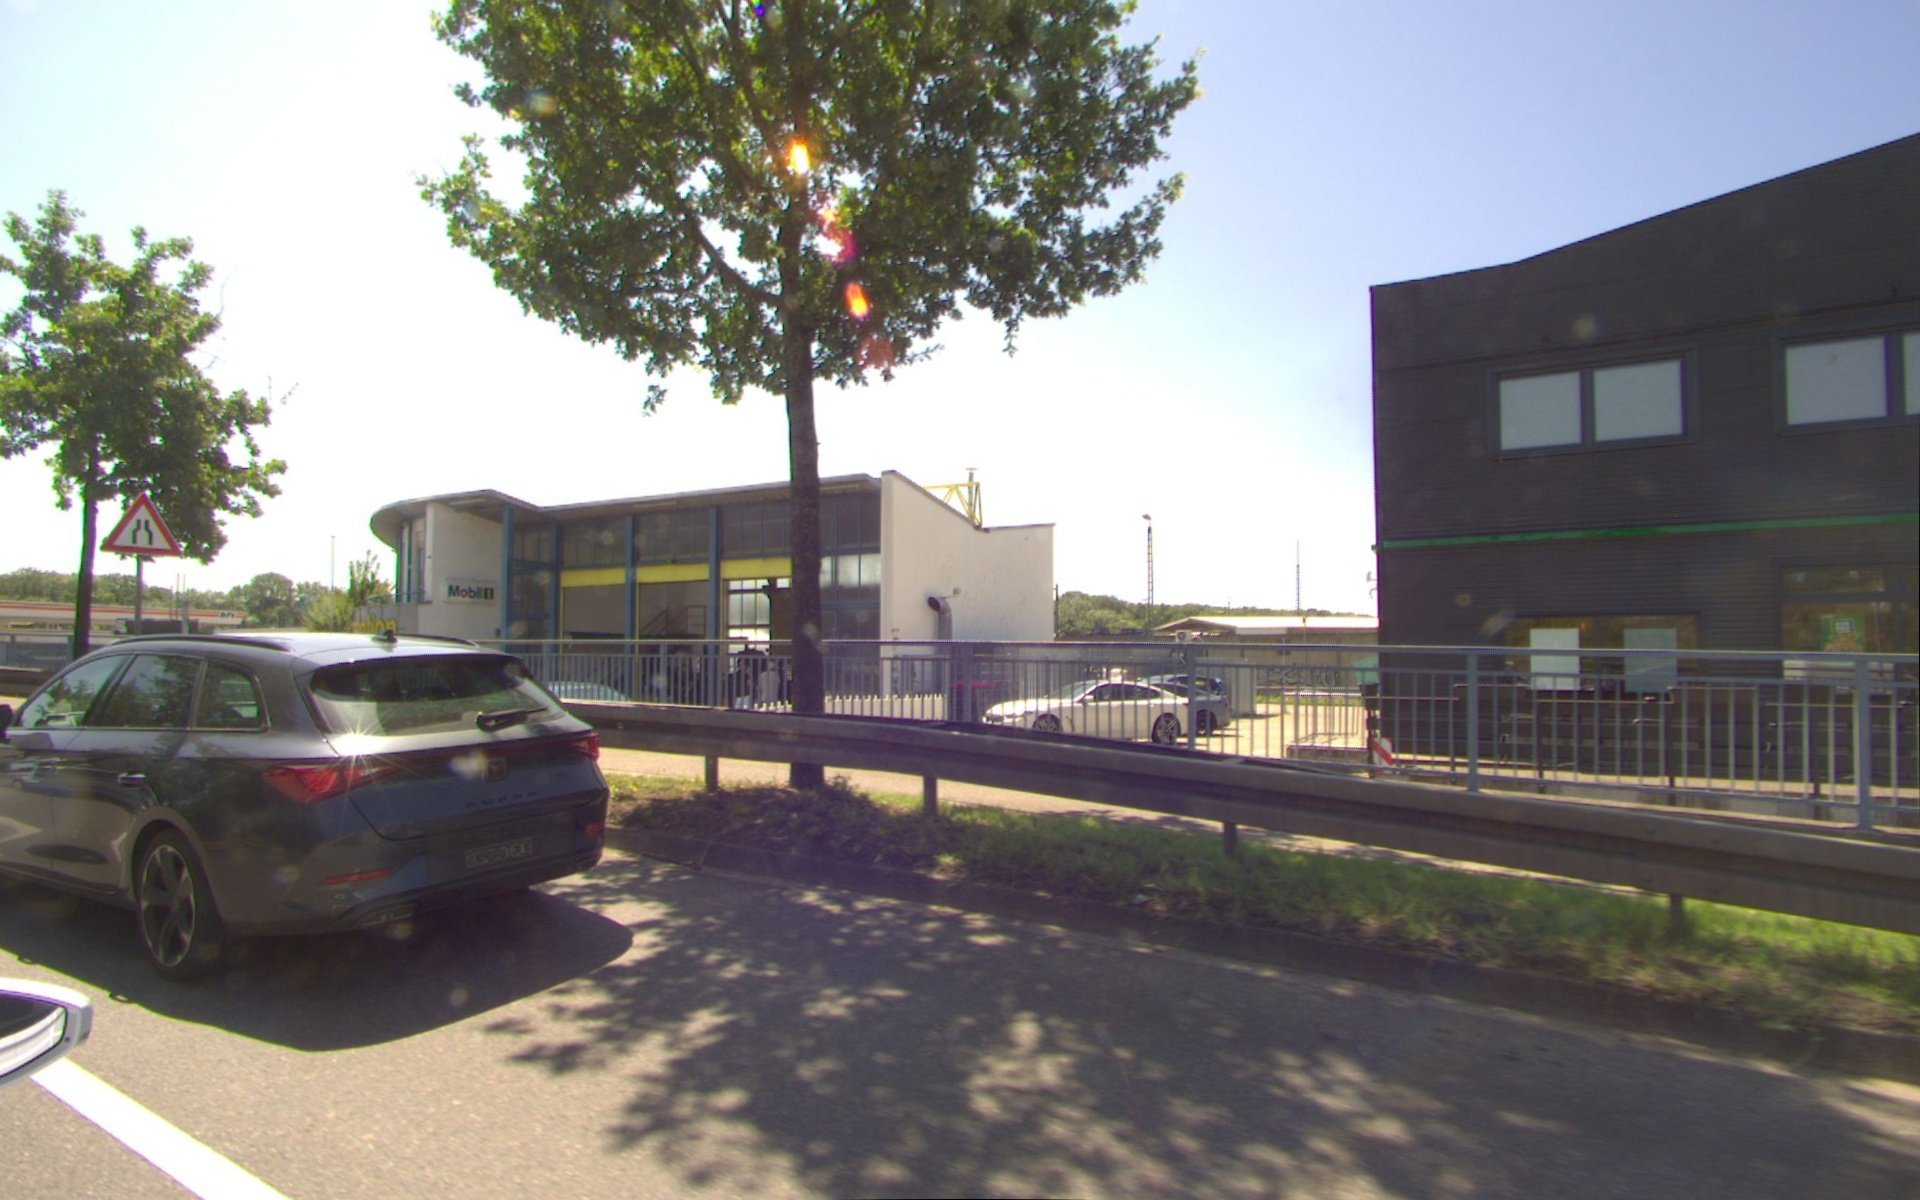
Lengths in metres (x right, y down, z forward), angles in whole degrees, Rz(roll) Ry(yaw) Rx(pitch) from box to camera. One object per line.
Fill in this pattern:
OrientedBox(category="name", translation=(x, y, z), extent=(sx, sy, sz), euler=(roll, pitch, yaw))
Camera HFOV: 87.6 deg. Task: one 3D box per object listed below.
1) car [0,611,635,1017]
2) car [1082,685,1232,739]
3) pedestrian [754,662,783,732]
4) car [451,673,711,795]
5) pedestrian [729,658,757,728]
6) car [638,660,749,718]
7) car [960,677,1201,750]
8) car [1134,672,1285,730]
OrientedBox(category="car", translation=(-3.838, 0.854, 5.399), extent=(4.172, 1.474, 1.603), euler=(-1, -3, 30))
OrientedBox(category="car", translation=(5.112, 2.884, 26.123), extent=(3.548, 1.269, 1.478), euler=(1, -2, -14))
OrientedBox(category="pedestrian", translation=(-4.812, 2.420, 25.202), extent=(0.580, 1.724, 0.426), euler=(-1, -2, 28))
OrientedBox(category="car", translation=(-5.786, 1.933, 15.208), extent=(3.841, 1.551, 1.631), euler=(-1, -2, 30))
OrientedBox(category="pedestrian", translation=(-5.488, 2.339, 25.336), extent=(0.481, 1.724, 0.521), euler=(-1, -2, 29))
OrientedBox(category="car", translation=(-8.698, 2.876, 32.972), extent=(1.623, 1.705, 3.671), euler=(-1, -3, 23))
OrientedBox(category="car", translation=(2.684, 2.453, 22.241), extent=(5.000, 1.375, 1.995), euler=(1, -2, -23))
OrientedBox(category="car", translation=(7.552, 3.009, 30.345), extent=(4.328, 1.578, 1.652), euler=(1, -2, -23))
